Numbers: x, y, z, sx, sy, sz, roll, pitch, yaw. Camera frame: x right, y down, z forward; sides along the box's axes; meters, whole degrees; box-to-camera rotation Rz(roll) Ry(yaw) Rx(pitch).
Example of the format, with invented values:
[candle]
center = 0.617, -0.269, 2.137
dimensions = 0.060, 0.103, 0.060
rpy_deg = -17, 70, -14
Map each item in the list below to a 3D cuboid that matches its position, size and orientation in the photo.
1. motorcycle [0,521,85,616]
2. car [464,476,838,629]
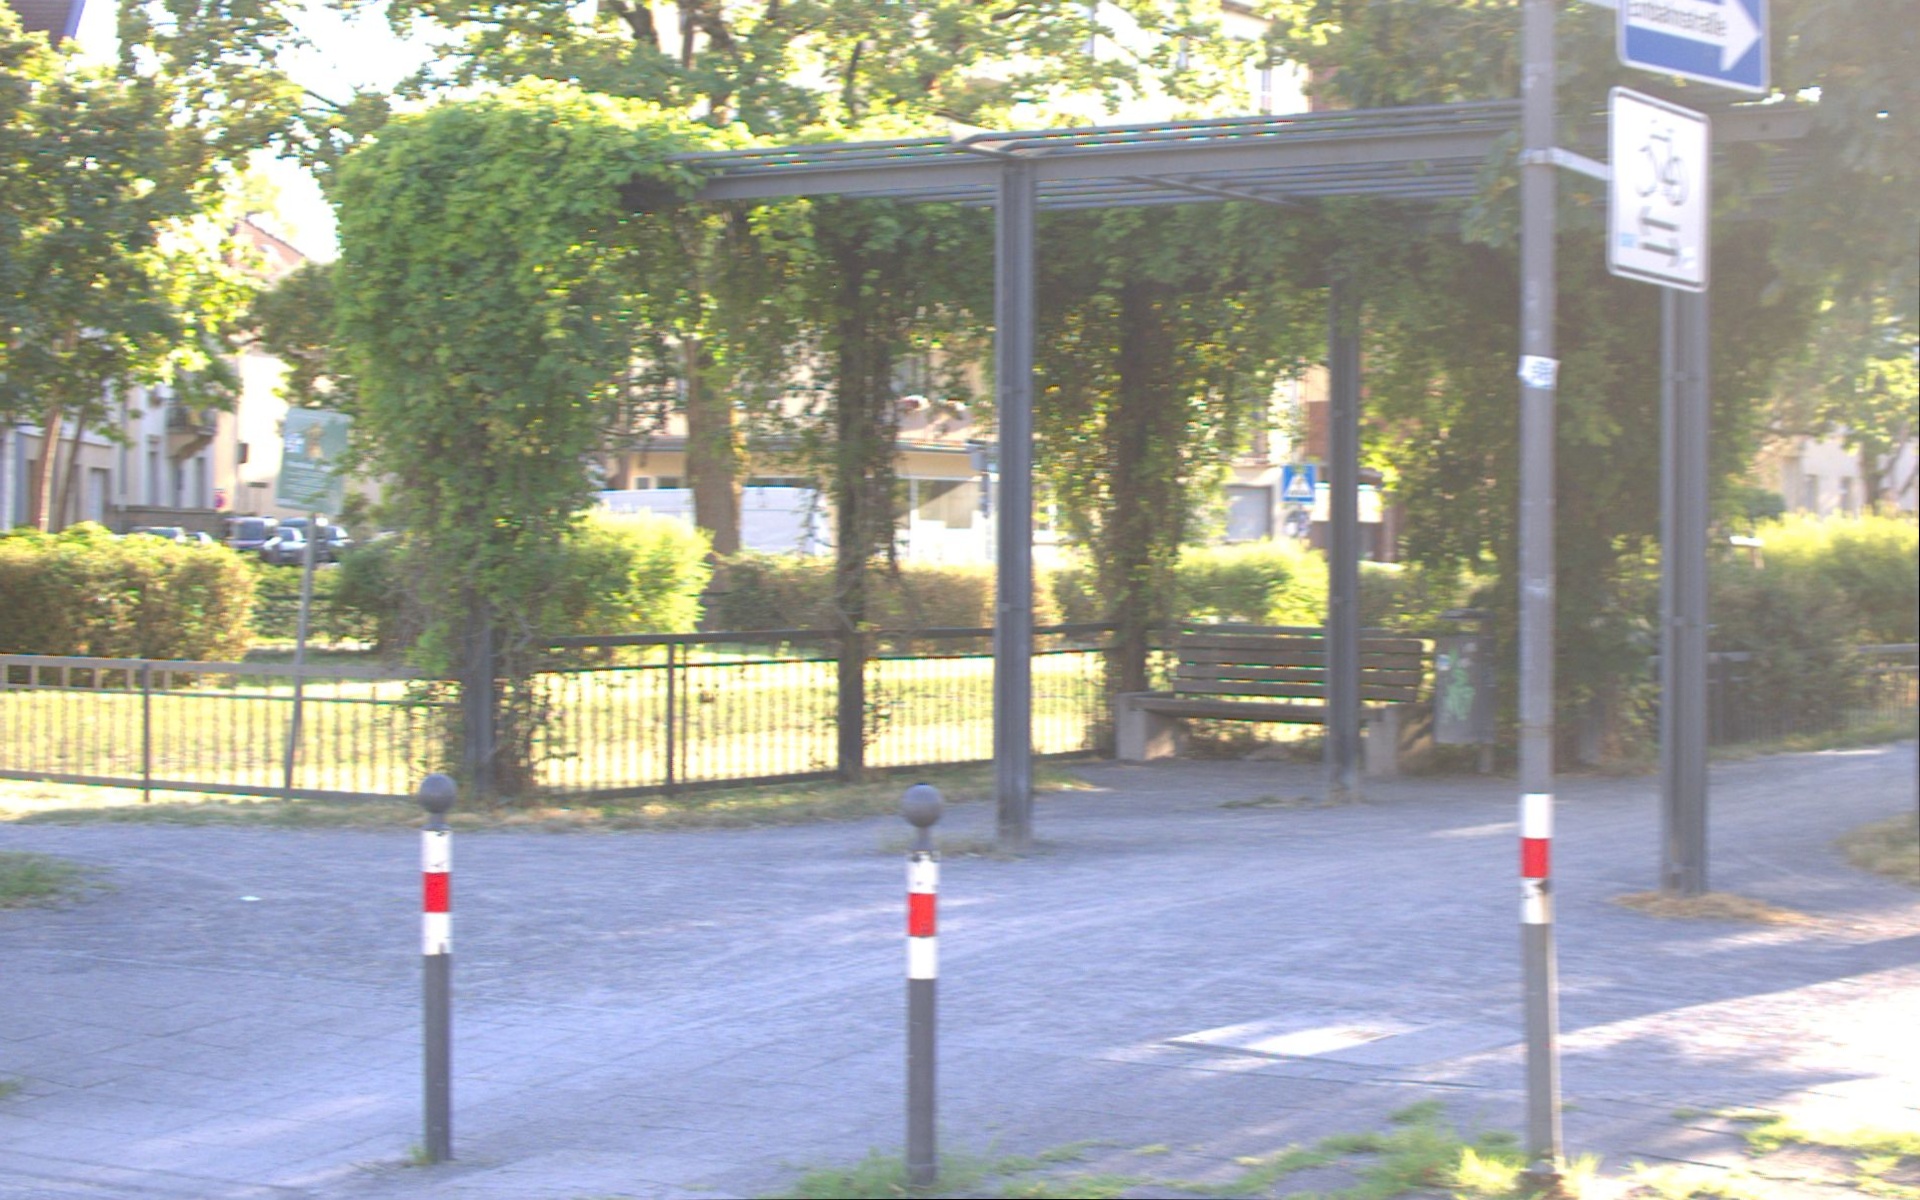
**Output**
[motorcycle]
center = -15.547, -0.494, 54.831
dimensions = 3.224, 1.482, 0.852
rpy_deg = 0, 0, 22
[car]
center = -5.765, -0.900, 64.601
dimensions = 6.668, 2.735, 2.317
rpy_deg = 1, 1, 5
